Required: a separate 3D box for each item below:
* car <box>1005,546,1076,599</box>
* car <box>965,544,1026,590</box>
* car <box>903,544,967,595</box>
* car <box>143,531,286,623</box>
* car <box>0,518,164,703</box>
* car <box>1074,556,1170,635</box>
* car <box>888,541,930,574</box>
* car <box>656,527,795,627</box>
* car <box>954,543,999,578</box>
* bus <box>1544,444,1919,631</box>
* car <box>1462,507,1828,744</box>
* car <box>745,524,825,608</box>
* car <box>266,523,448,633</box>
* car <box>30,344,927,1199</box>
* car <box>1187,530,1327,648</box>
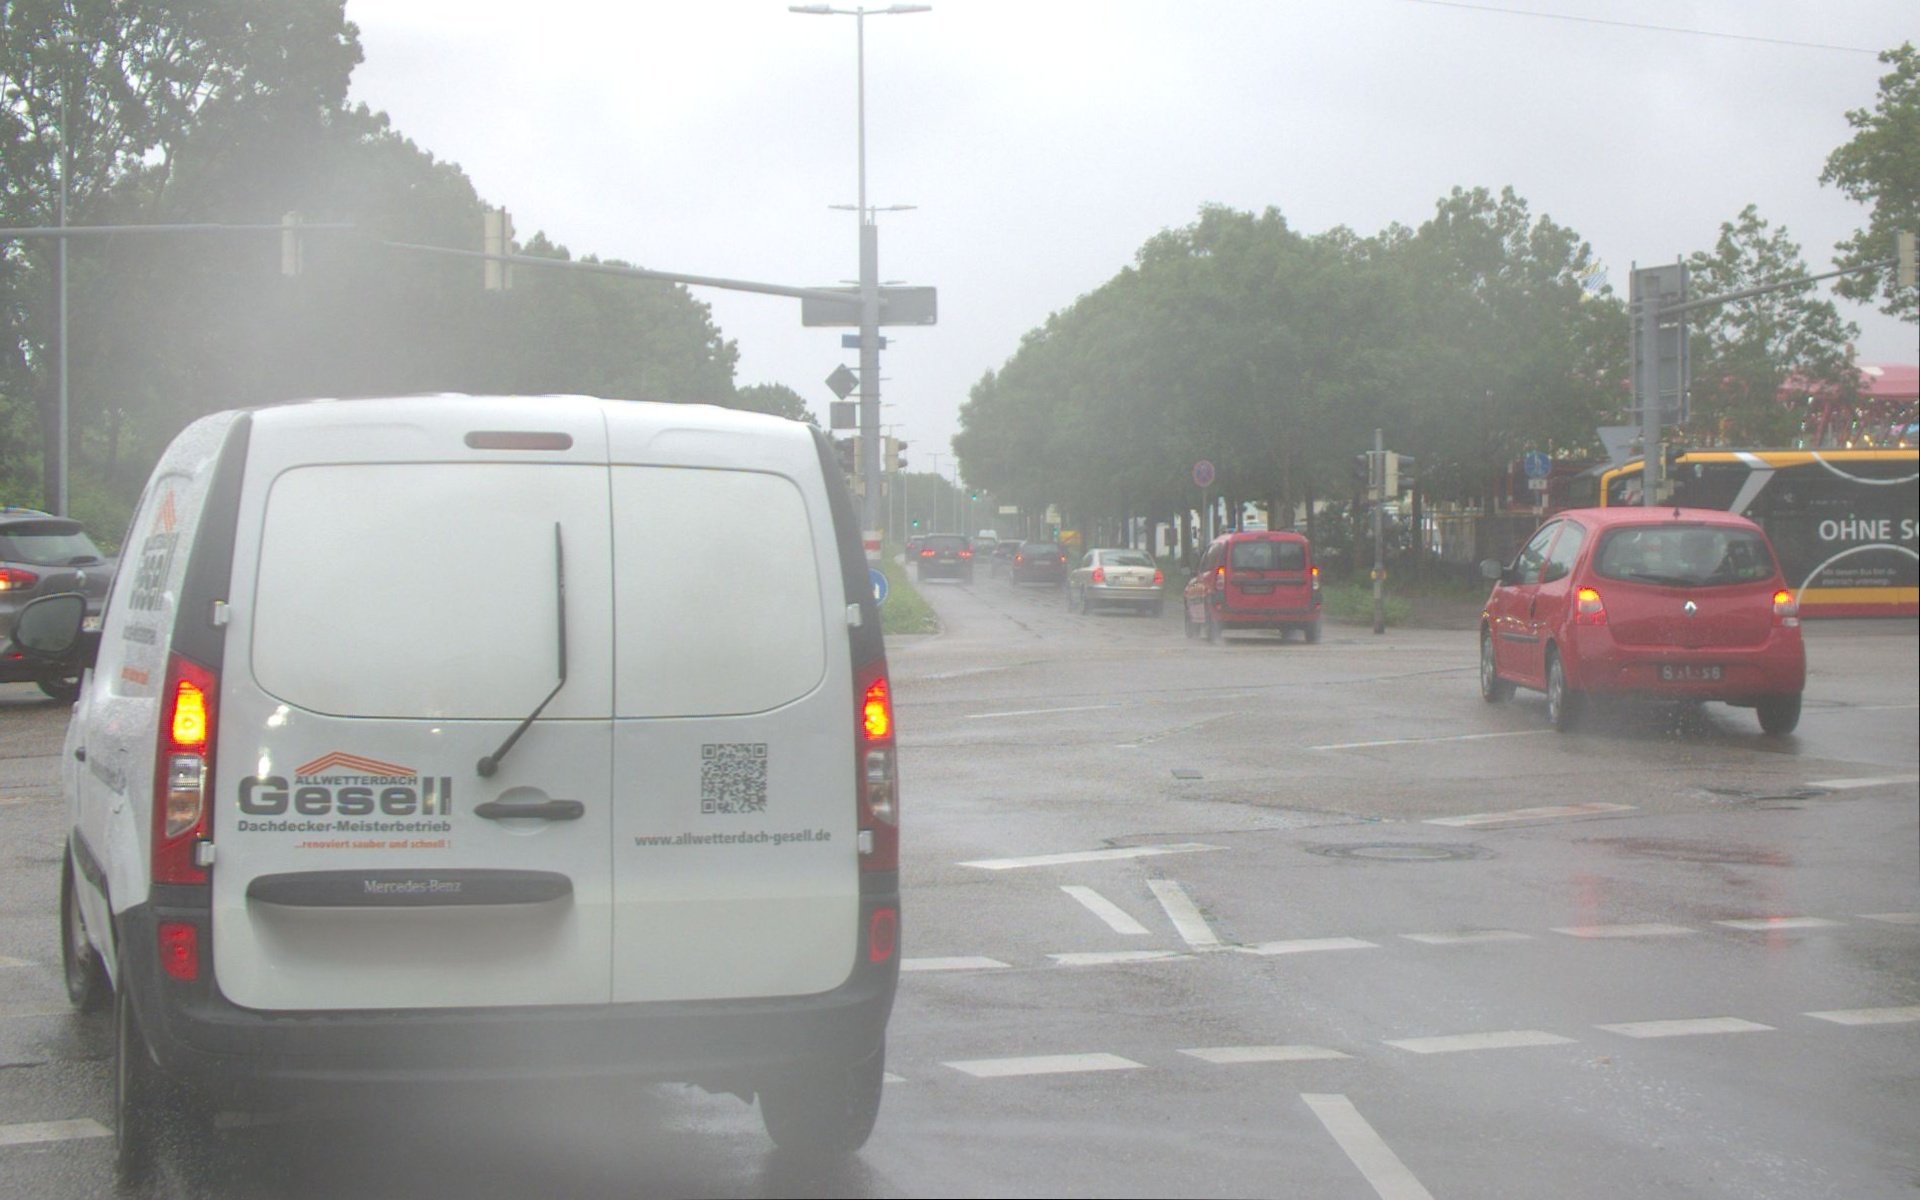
[{"bbox_3d":[2.520,-0.886,108.140,1.996,1.612,4.001,-1,1,-2],"label":"car"},{"bbox_3d":[1.279,-1.230,125.470,1.996,1.612,4.001,-1,1,-2],"label":"car"},{"bbox_3d":[-0.842,-1.018,112.774,1.996,1.612,4.001,-1,1,-2],"label":"car"},{"bbox_3d":[-12.636,-0.421,58.460,1.827,1.477,4.001,0,1,-4],"label":"car"},{"bbox_3d":[-7.691,0.046,25.154,3.251,1.279,1.684,0,1,22],"label":"car"},{"bbox_3d":[3.480,-0.124,74.443,1.842,1.612,4.000,1,1,0],"label":"car"},{"bbox_3d":[-2.576,-2.151,172.280,1.996,1.612,4.001,-1,1,-2],"label":"car"},{"bbox_3d":[-4.180,-0.442,62.010,2.169,1.714,4.303,0,1,0],"label":"car"},{"bbox_3d":[0.793,-1.933,167.537,1.996,1.612,4.001,-1,1,-2],"label":"car"},{"bbox_3d":[17.021,-1.161,62.364,12.248,3.257,3.275,0,1,-2],"label":"bus"},{"bbox_3d":[4.629,0.126,23.722,1.678,1.486,3.622,1,1,-2],"label":"car"},{"bbox_3d":[-3.753,-0.753,73.417,1.599,1.714,4.001,0,1,-4],"label":"car"},{"bbox_3d":[-9.464,-0.375,54.268,2.022,1.651,4.061,0,1,2],"label":"car"},{"bbox_3d":[-1.501,0.336,9.140,1.755,1.771,4.001,2,1,-16],"label":"car"},{"bbox_3d":[4.373,-0.193,51.095,1.632,1.650,3.485,2,1,-2],"label":"car"}]
